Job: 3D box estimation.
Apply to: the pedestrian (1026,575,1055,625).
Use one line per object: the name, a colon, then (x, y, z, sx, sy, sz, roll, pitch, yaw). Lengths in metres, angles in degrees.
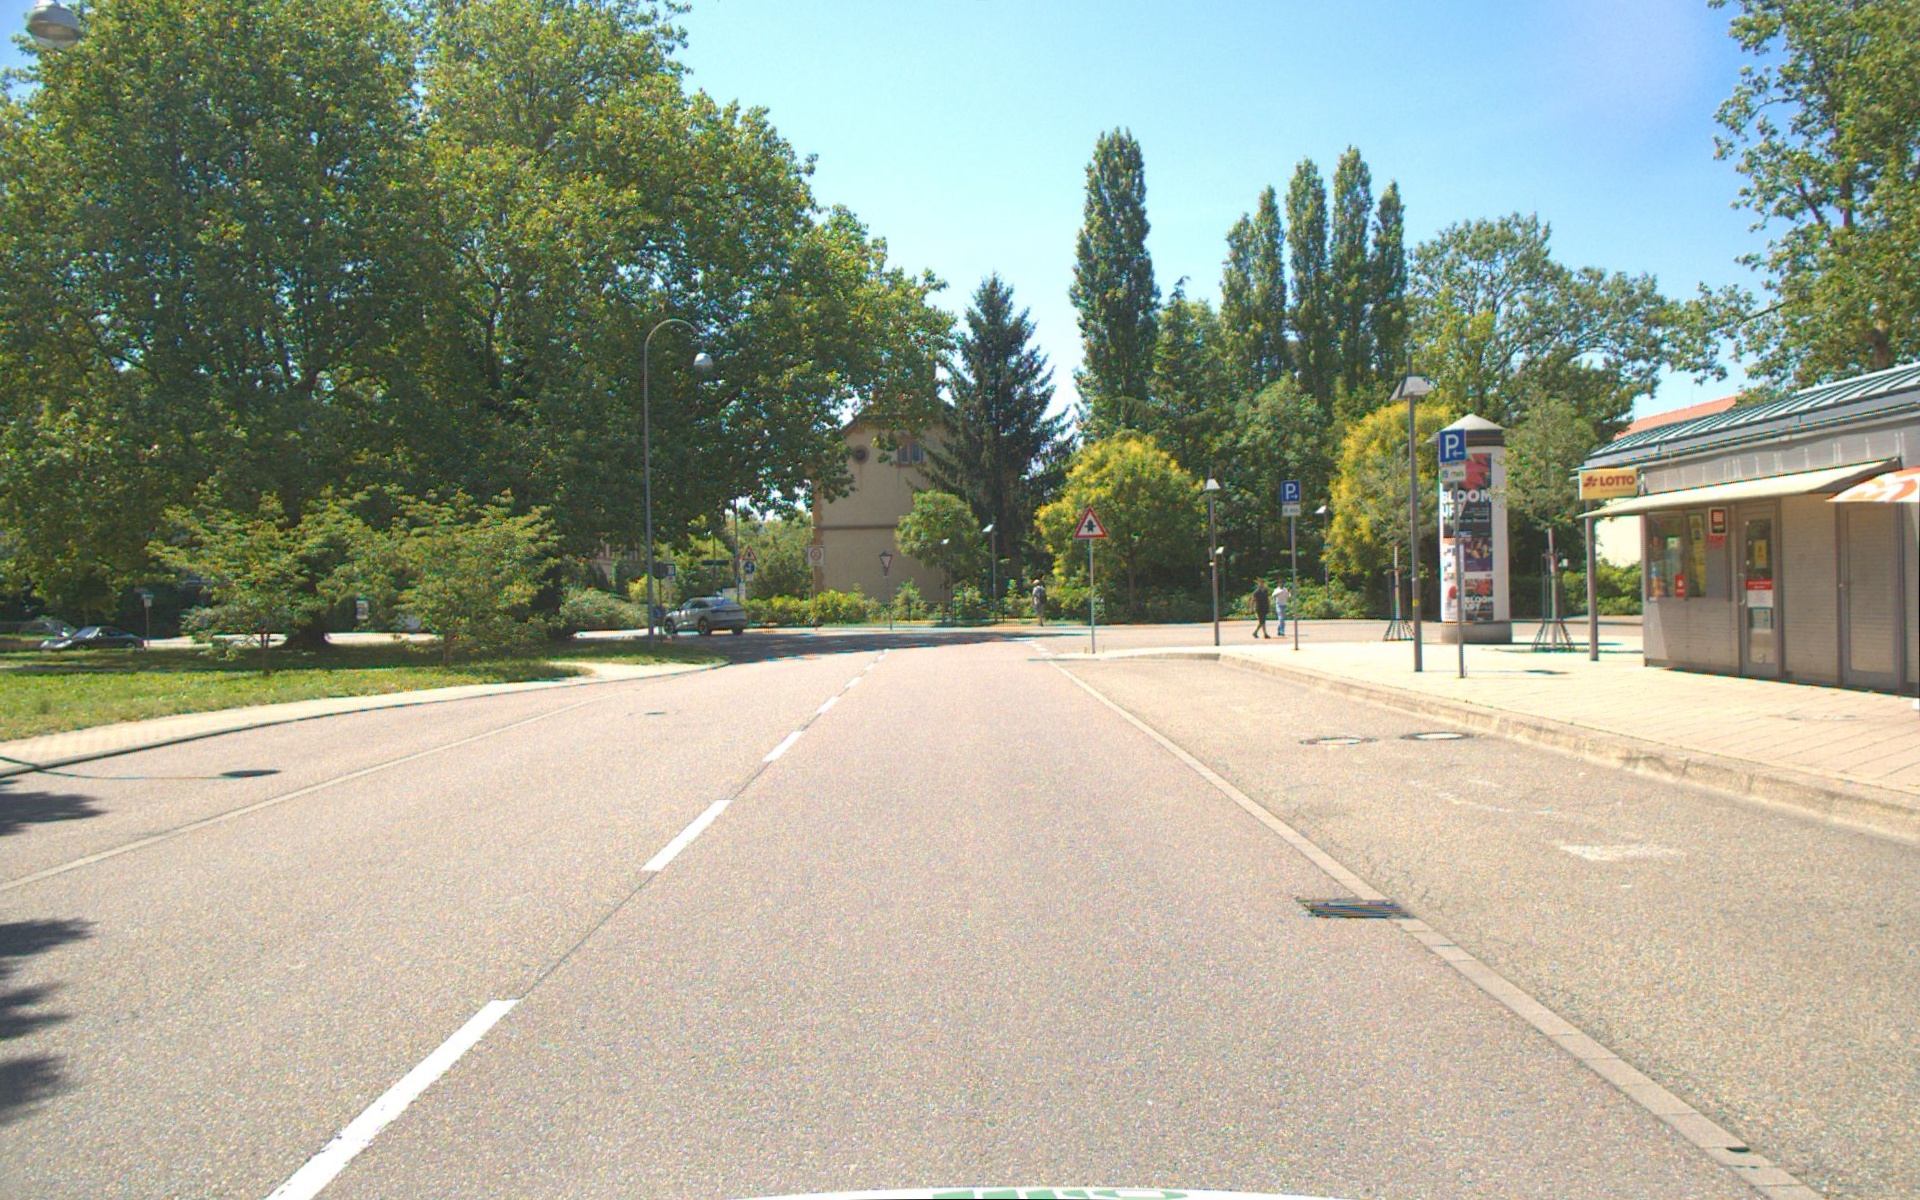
pedestrian: (3.233, 0.011, 66.529, 0.799, 2.000, 0.844, -1, 0, -40)

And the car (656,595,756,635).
car: (-11.227, 0.671, 72.970, 1.975, 1.655, 4.699, -2, 1, -44)

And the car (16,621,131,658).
car: (-36.477, 1.619, 68.163, 1.779, 1.333, 3.990, -2, 0, 20)

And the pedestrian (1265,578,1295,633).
pedestrian: (9.943, 0.188, 51.405, 0.706, 1.678, 0.750, -1, -2, 27)

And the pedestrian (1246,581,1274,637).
pedestrian: (9.100, 0.278, 50.126, 0.623, 1.678, 0.750, -1, -2, 27)

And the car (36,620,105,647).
car: (-47.439, 1.807, 88.194, 4.114, 1.333, 1.636, -1, 0, 37)
